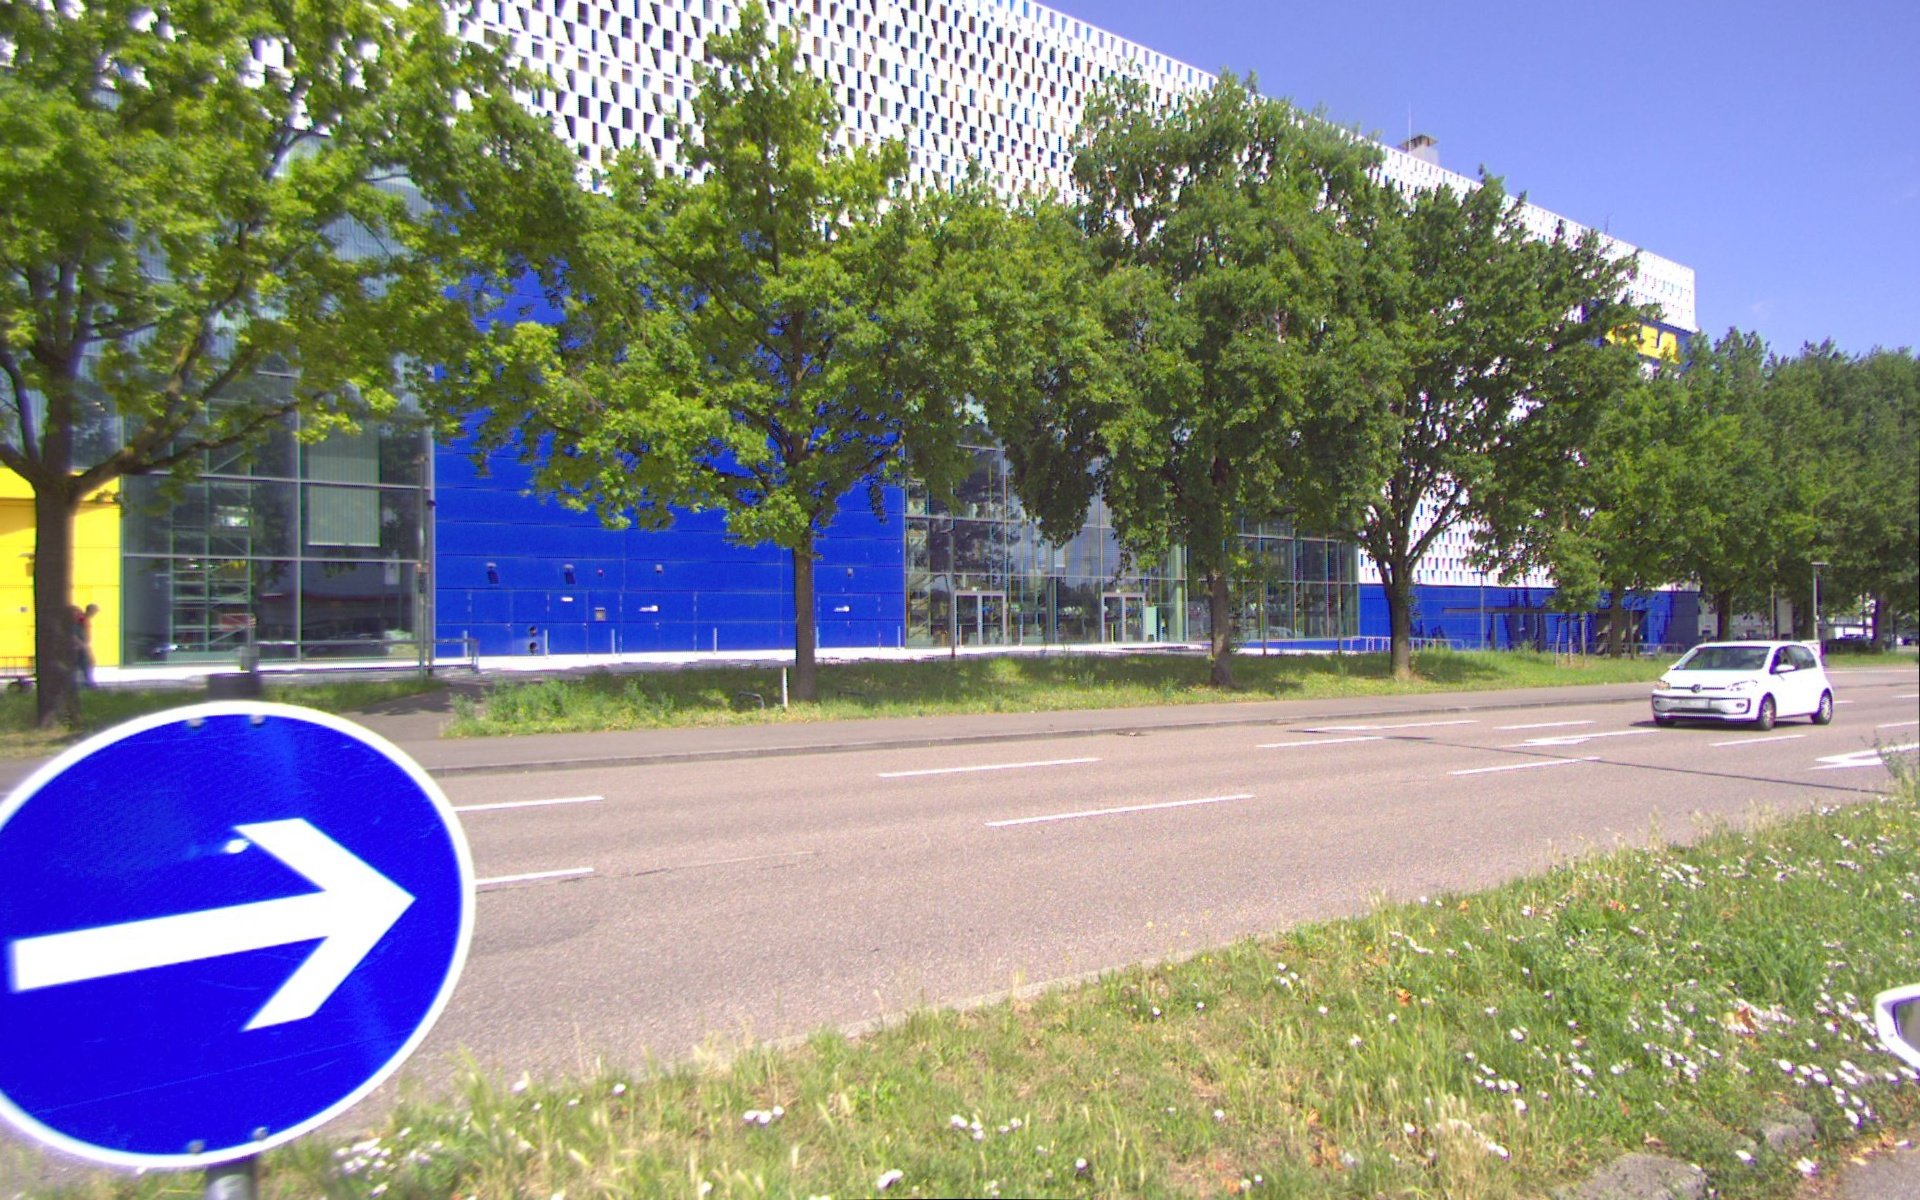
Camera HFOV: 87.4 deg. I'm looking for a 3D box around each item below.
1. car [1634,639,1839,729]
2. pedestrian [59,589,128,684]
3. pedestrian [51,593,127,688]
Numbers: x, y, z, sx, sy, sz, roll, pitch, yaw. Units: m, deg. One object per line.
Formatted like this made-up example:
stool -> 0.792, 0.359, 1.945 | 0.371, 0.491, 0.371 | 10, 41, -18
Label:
car -> 13.705, 1.419, 17.700 | 3.628, 1.447, 1.635 | 1, -3, -31
pedestrian -> -17.268, 0.727, 20.043 | 0.876, 1.847, 0.750 | 1, -1, -30
pedestrian -> -16.315, 0.747, 18.840 | 0.876, 1.725, 0.945 | 1, -1, -30
